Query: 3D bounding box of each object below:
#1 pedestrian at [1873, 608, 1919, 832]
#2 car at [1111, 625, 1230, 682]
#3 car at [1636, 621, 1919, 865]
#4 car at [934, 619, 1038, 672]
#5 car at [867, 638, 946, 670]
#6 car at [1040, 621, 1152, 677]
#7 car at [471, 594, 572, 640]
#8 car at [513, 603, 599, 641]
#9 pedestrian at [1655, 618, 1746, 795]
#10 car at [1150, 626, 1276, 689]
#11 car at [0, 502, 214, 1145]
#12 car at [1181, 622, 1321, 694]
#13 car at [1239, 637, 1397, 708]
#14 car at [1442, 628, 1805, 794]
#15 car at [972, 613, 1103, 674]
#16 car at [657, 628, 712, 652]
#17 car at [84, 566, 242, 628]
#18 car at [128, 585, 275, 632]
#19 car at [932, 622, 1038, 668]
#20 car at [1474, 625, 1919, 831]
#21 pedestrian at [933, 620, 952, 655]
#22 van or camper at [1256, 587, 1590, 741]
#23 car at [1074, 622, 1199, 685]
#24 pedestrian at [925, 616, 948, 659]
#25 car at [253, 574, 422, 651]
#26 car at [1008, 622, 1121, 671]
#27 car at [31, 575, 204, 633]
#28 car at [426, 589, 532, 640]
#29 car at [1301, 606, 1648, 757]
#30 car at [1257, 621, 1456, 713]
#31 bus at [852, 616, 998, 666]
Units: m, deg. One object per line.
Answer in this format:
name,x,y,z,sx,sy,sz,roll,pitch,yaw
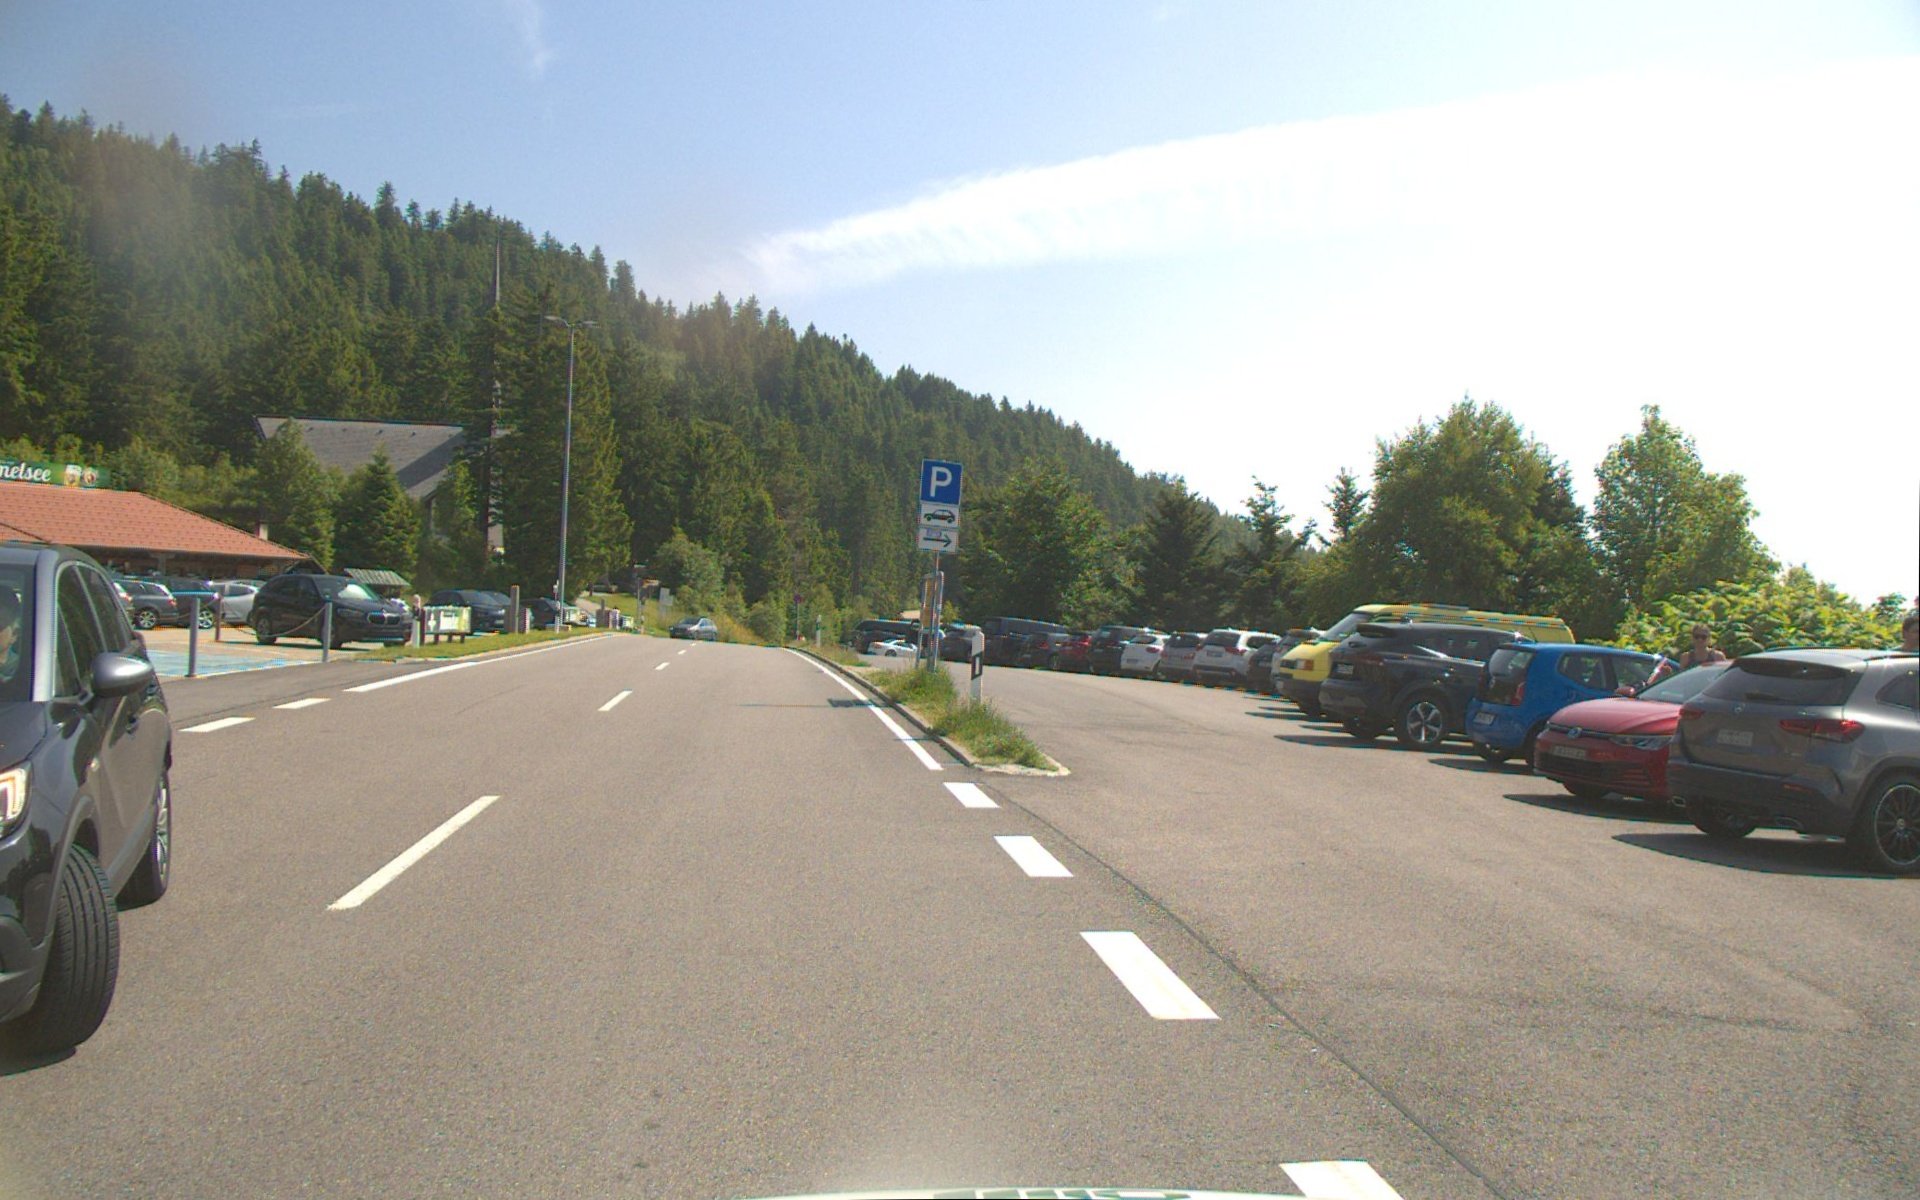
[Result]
pedestrian,8.615,1.064,14.602,0.596,1.932,0.679,5,-1,-1
car,6.963,1.774,54.565,3.970,1.501,1.739,7,-3,-45
car,7.800,1.170,13.012,4.329,1.595,1.898,5,0,-18
car,1.146,1.973,71.376,3.953,1.690,1.977,10,-4,-34
car,-3.222,3.286,100.153,4.395,1.320,1.571,9,-3,-23
car,4.983,1.802,60.132,3.970,1.617,1.833,7,-3,-45
car,-16.997,0.639,64.032,3.983,1.595,1.731,2,-1,39
car,-20.158,1.095,82.500,4.123,1.662,1.784,1,-3,33
pedestrian,7.658,1.094,17.116,0.496,1.754,0.564,5,-1,-19
car,7.912,1.795,51.460,3.970,1.575,1.791,7,-3,-45
car,-3.896,0.554,5.882,1.951,1.645,4.125,0,0,-20
car,8.476,1.698,47.955,4.195,1.724,1.833,6,-2,-45
car,9.599,1.946,44.299,4.006,1.486,1.872,7,-2,-36
car,7.728,1.270,19.431,3.513,1.521,1.646,5,0,-6
car,3.077,1.717,65.364,4.700,1.912,1.950,7,-2,-26
car,-17.896,2.609,107.541,1.554,1.454,3.358,2,0,36
car,-24.299,-0.076,50.507,1.794,1.733,3.974,2,0,43
car,-24.618,0.283,53.759,3.970,1.395,1.783,2,0,-45
car,1.036,1.853,68.199,3.942,1.468,1.823,7,-2,-28
car,7.095,1.190,15.514,3.923,1.535,1.834,5,0,-17
pedestrian,-0.751,1.568,69.721,0.758,1.427,0.669,2,0,-1
van or camper,7.814,1.059,28.166,4.993,2.048,1.880,6,0,-5
car,6.068,1.832,56.581,1.959,1.724,4.242,4,-3,45
pedestrian,-1.021,1.628,71.831,0.568,1.791,0.632,4,-3,28
car,-13.950,0.264,36.983,4.117,1.567,1.797,2,0,42
car,3.965,1.775,62.543,3.953,1.439,1.724,7,-2,-35
car,-24.041,0.129,47.290,1.683,1.512,4.061,2,0,38
car,-16.547,0.492,56.790,3.933,1.579,1.770,2,0,44
car,6.794,1.062,22.008,3.918,1.641,1.911,4,-1,-12
car,9.074,1.533,37.804,4.122,1.678,1.875,7,-2,-27
bus,-3.157,3.636,148.709,12.588,3.640,2.984,4,0,10
